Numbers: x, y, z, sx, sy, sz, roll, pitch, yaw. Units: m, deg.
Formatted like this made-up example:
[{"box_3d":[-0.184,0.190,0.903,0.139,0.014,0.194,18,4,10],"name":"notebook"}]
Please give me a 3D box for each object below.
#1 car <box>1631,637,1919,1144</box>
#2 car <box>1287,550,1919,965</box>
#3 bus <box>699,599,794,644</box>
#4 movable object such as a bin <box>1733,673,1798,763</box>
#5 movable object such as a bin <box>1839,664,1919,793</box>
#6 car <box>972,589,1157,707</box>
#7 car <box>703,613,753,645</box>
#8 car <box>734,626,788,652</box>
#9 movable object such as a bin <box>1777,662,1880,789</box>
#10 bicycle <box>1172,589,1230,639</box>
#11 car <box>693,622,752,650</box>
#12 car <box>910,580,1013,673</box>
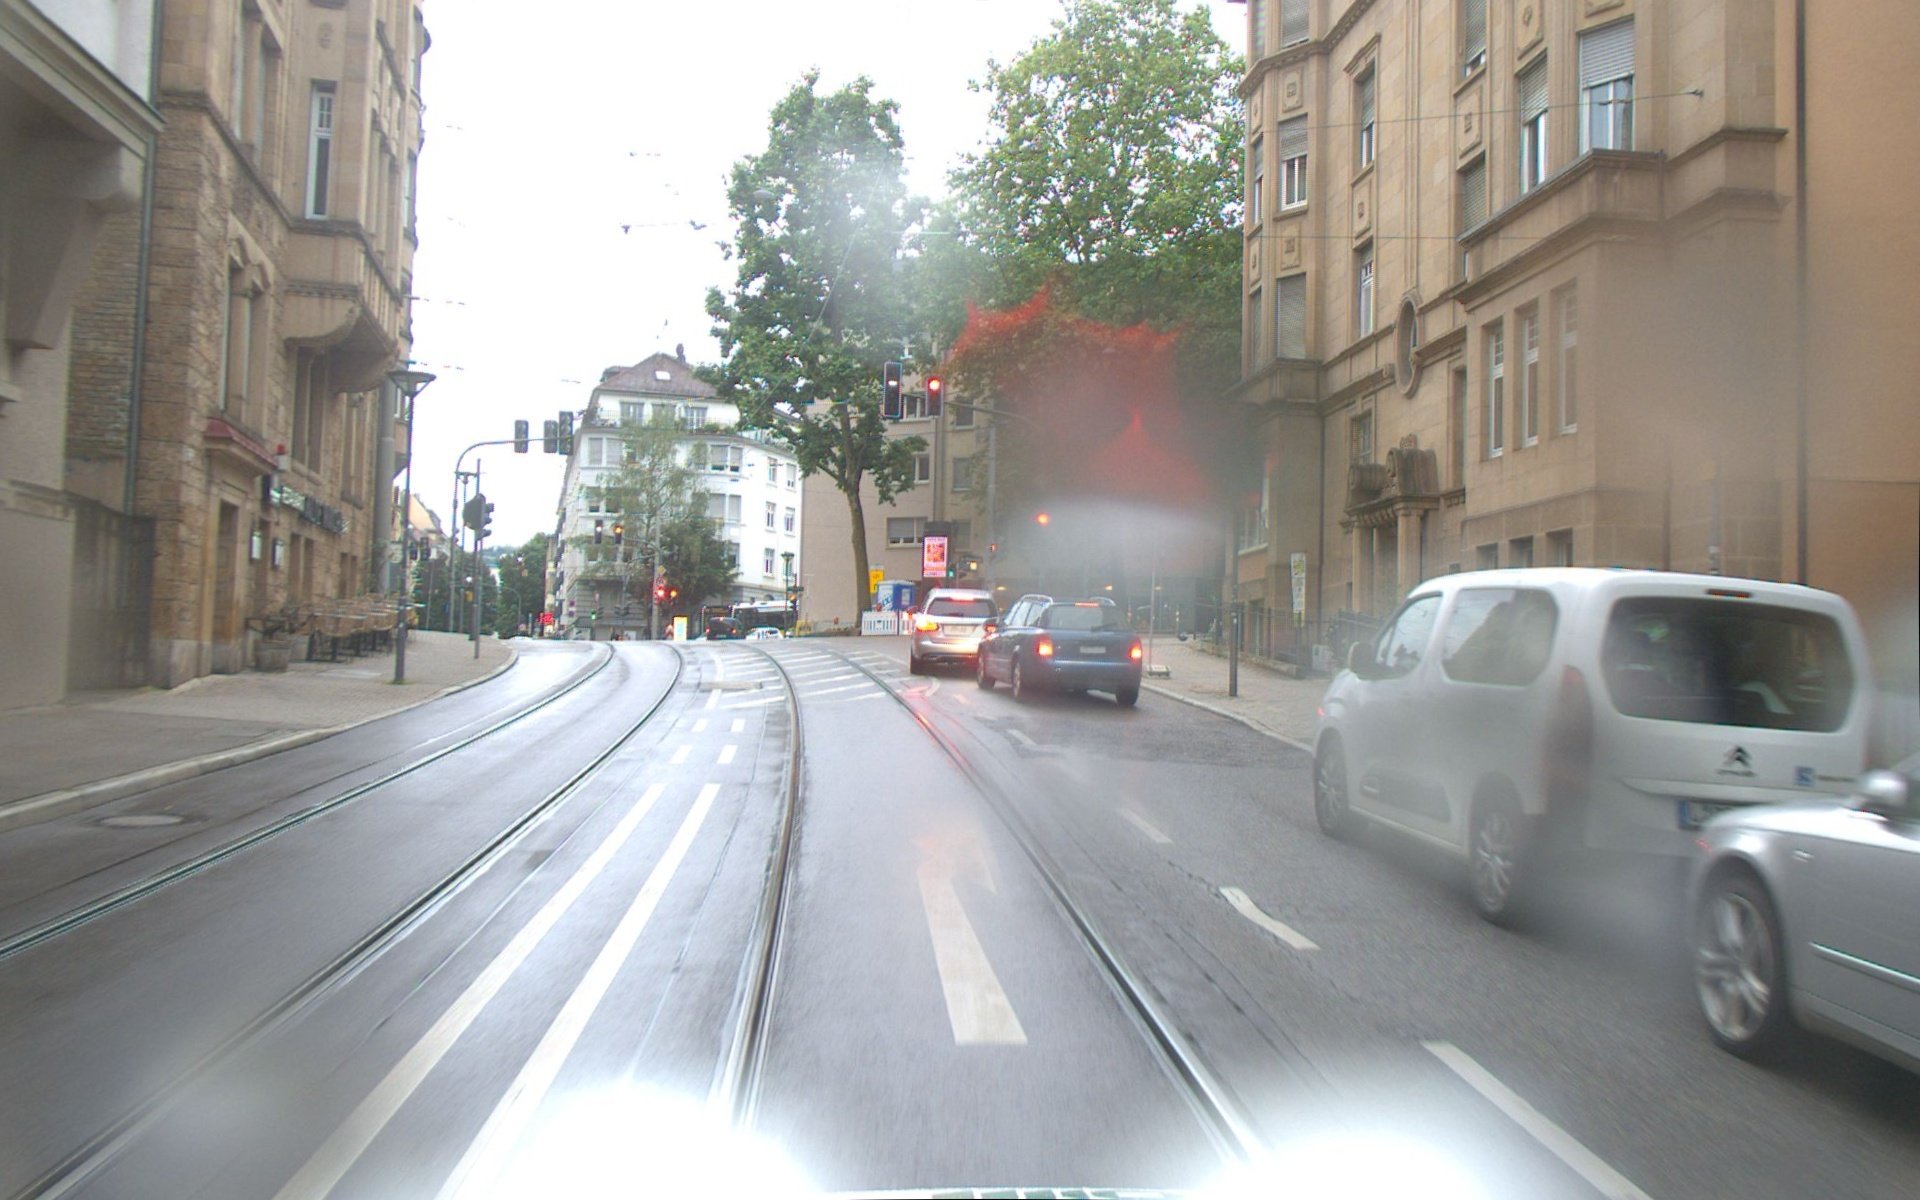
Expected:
[{"box_3d":[3.716,0.935,4.529,1.714,1.425,4.476,4,0,-3],"name":"car"},{"box_3d":[3.450,0.704,9.754,1.762,1.795,4.459,4,0,-4],"name":"car"},{"box_3d":[-14.460,1.392,112.883,2.795,2.911,8.736,1,1,19],"name":"bus"},{"box_3d":[9.198,1.340,18.900,0.386,0.959,0.518,5,-1,-6],"name":"movable object such as a bin"},{"box_3d":[8.365,1.150,14.881,0.489,1.079,0.609,5,-1,-3],"name":"movable object such as a bin"},{"box_3d":[1.403,0.626,23.828,1.680,1.440,4.026,2,1,-11],"name":"car"},{"box_3d":[-12.048,1.488,86.033,1.756,1.536,4.002,-1,0,4],"name":"car"},{"box_3d":[-12.826,2.504,106.860,1.758,1.536,3.999,1,1,23],"name":"car"},{"box_3d":[7.754,1.111,14.788,0.517,1.048,0.664,5,-1,3],"name":"movable object such as a bin"},{"box_3d":[5.840,0.332,40.098,1.275,1.194,0.525,-1,1,-7],"name":"bicycle"},{"box_3d":[-14.627,2.207,102.096,1.758,1.642,3.999,1,1,23],"name":"car"},{"box_3d":[-0.023,0.430,29.646,1.676,1.481,3.551,2,1,-2],"name":"car"}]
